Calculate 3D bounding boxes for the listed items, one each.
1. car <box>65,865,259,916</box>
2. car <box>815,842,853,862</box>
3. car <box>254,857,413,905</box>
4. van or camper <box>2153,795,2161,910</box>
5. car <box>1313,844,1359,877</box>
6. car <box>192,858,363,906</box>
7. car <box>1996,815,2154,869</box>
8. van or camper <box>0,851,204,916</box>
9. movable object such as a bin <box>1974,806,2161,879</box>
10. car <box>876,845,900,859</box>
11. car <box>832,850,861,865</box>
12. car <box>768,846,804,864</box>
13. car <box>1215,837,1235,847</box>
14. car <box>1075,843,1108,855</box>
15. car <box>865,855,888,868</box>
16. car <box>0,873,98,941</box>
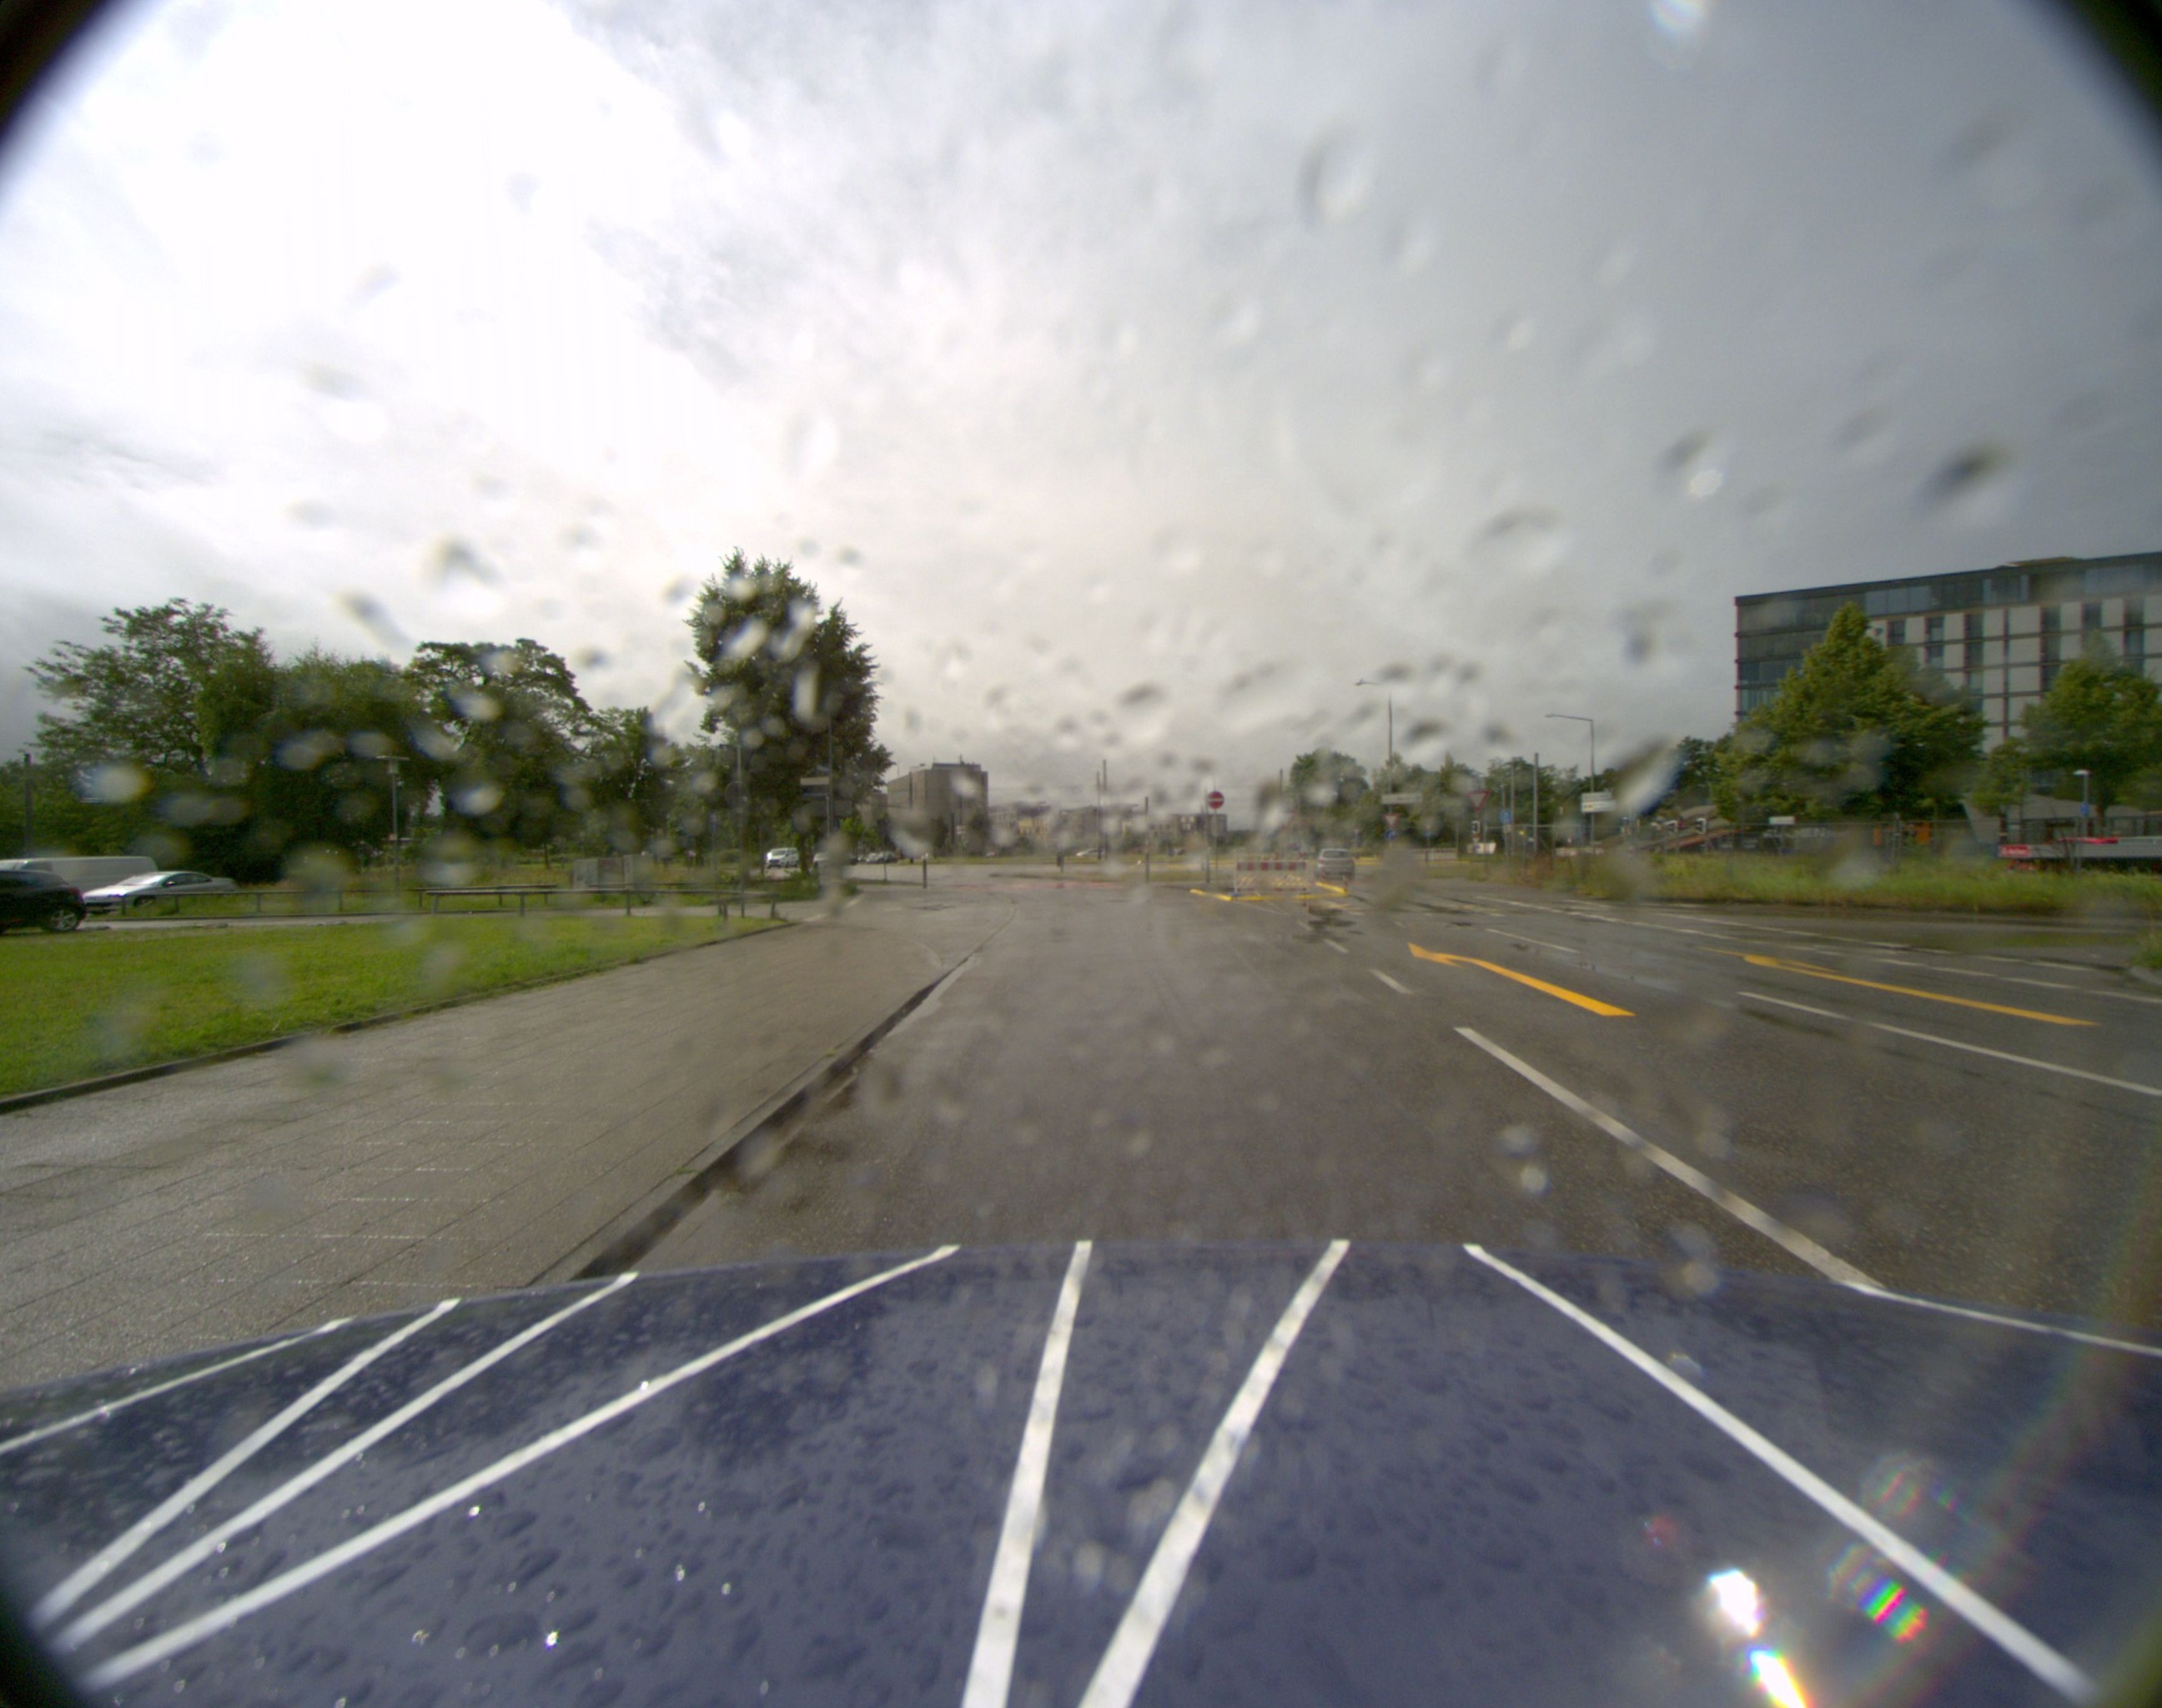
[{"bbox_3d":[-32.101,1.216,26.766,1.934,1.539,3.999,-1,1,0],"label":"car"},{"bbox_3d":[-22.649,-0.186,69.791,1.667,1.678,4.207,-1,0,6],"label":"car"},{"bbox_3d":[-26.682,0.913,27.314,1.934,1.539,3.771,-1,1,0],"label":"car"},{"bbox_3d":[27.308,-0.045,14.812,6.963,2.632,2.516,-1,1,32],"label":"van or camper"},{"bbox_3d":[12.230,0.278,36.652,1.740,1.406,4.183,-1,1,14],"label":"car"},{"bbox_3d":[-28.892,0.955,27.535,1.934,1.539,3.999,-1,1,0],"label":"car"},{"bbox_3d":[40.300,-0.482,30.980,1.996,2.002,4.005,-1,1,18],"label":"car"},{"bbox_3d":[-35.906,0.957,27.313,1.998,2.092,5.679,-1,0,1],"label":"van or camper"},{"bbox_3d":[35.920,-0.398,25.882,6.596,2.373,2.681,-1,1,32],"label":"movable object such as a bin"},{"bbox_3d":[-23.949,-0.237,94.274,1.867,1.740,4.000,-1,1,1],"label":"car"},{"bbox_3d":[-25.152,0.357,81.741,1.769,1.587,3.999,-1,1,1],"label":"car"},{"bbox_3d":[-29.425,0.068,75.885,1.891,1.704,4.229,0,1,1],"label":"car"},{"bbox_3d":[23.295,-1.904,122.574,1.664,1.521,3.487,-1,0,40],"label":"car"},{"bbox_3d":[1.433,-0.667,104.917,4.123,1.521,1.666,-2,0,-24],"label":"car"},{"bbox_3d":[-27.438,0.992,101.952,1.867,1.740,4.000,-1,1,1],"label":"car"},{"bbox_3d":[-22.455,1.109,14.854,1.391,1.318,3.875,-1,1,0],"label":"car"}]
